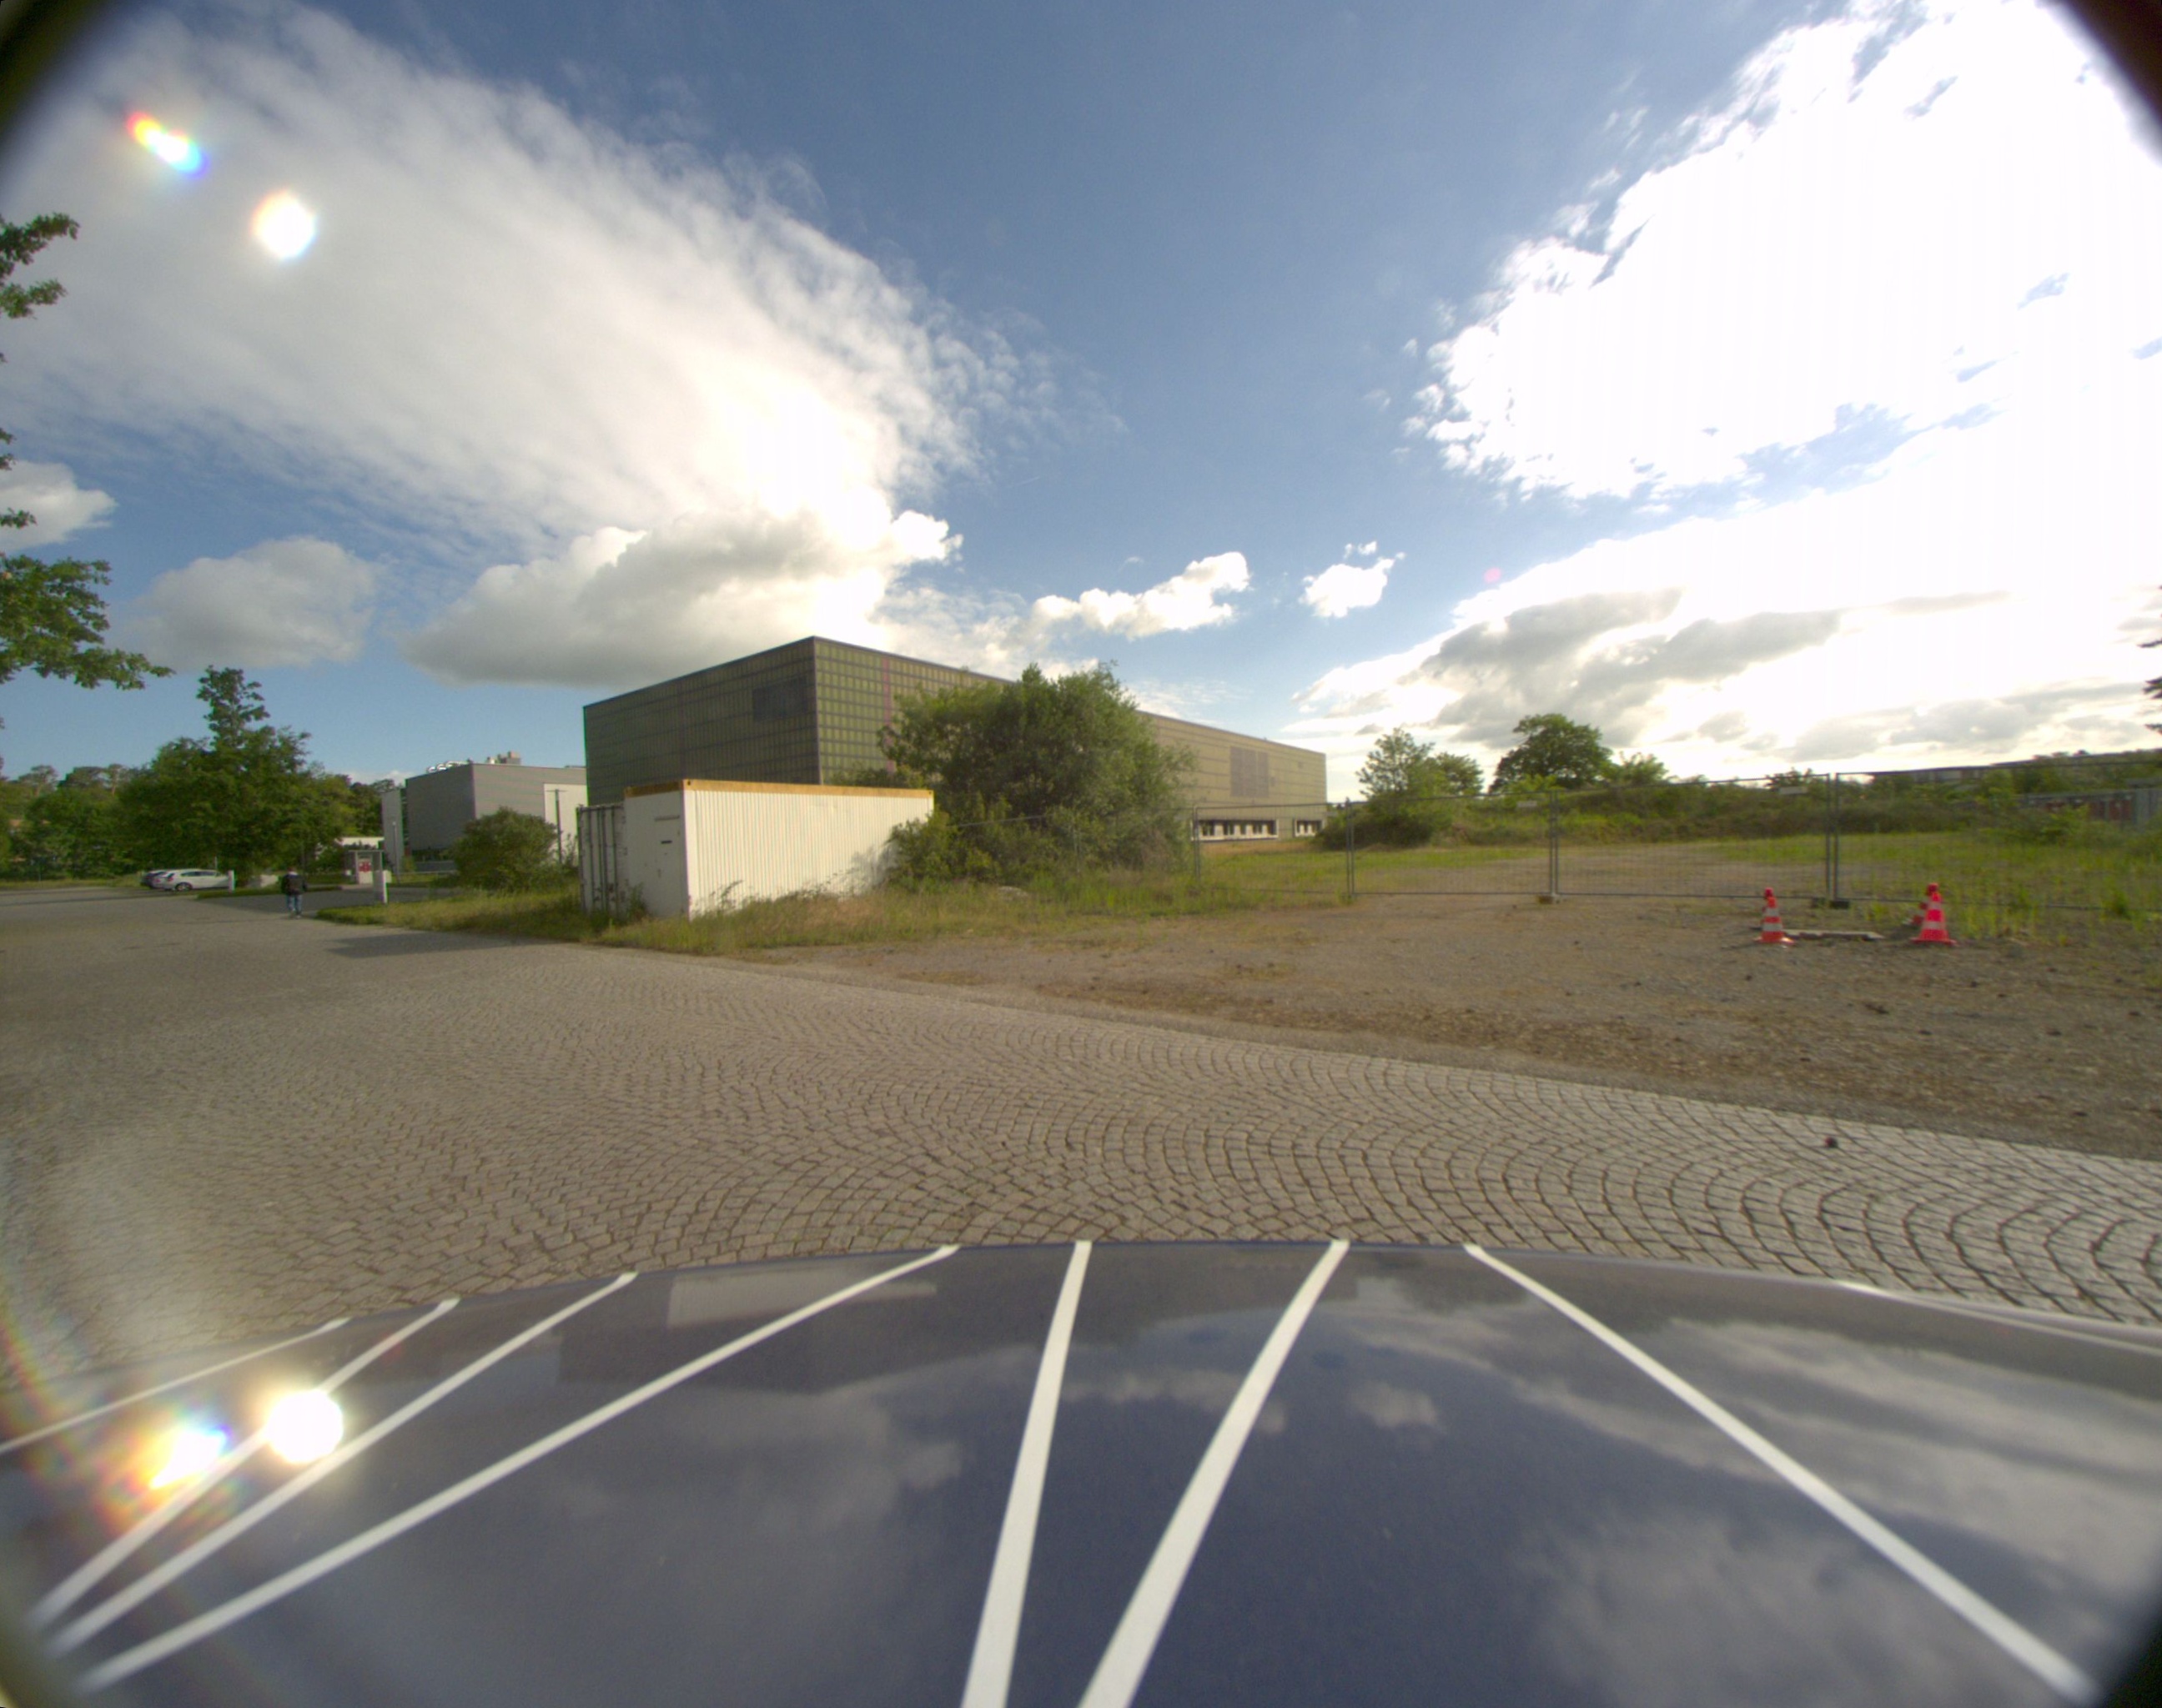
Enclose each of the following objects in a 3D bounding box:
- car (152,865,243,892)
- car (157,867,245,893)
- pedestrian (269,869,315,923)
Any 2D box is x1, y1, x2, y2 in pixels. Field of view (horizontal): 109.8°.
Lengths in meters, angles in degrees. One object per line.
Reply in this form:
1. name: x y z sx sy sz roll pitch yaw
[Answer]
1. car: -61.249 1.652 52.742 1.994 1.633 4.007 -1 2 41
2. car: -63.145 1.832 54.616 1.994 1.633 4.007 -1 2 41
3. pedestrian: -24.172 1.265 23.303 0.869 1.550 1.025 -4 2 -44
